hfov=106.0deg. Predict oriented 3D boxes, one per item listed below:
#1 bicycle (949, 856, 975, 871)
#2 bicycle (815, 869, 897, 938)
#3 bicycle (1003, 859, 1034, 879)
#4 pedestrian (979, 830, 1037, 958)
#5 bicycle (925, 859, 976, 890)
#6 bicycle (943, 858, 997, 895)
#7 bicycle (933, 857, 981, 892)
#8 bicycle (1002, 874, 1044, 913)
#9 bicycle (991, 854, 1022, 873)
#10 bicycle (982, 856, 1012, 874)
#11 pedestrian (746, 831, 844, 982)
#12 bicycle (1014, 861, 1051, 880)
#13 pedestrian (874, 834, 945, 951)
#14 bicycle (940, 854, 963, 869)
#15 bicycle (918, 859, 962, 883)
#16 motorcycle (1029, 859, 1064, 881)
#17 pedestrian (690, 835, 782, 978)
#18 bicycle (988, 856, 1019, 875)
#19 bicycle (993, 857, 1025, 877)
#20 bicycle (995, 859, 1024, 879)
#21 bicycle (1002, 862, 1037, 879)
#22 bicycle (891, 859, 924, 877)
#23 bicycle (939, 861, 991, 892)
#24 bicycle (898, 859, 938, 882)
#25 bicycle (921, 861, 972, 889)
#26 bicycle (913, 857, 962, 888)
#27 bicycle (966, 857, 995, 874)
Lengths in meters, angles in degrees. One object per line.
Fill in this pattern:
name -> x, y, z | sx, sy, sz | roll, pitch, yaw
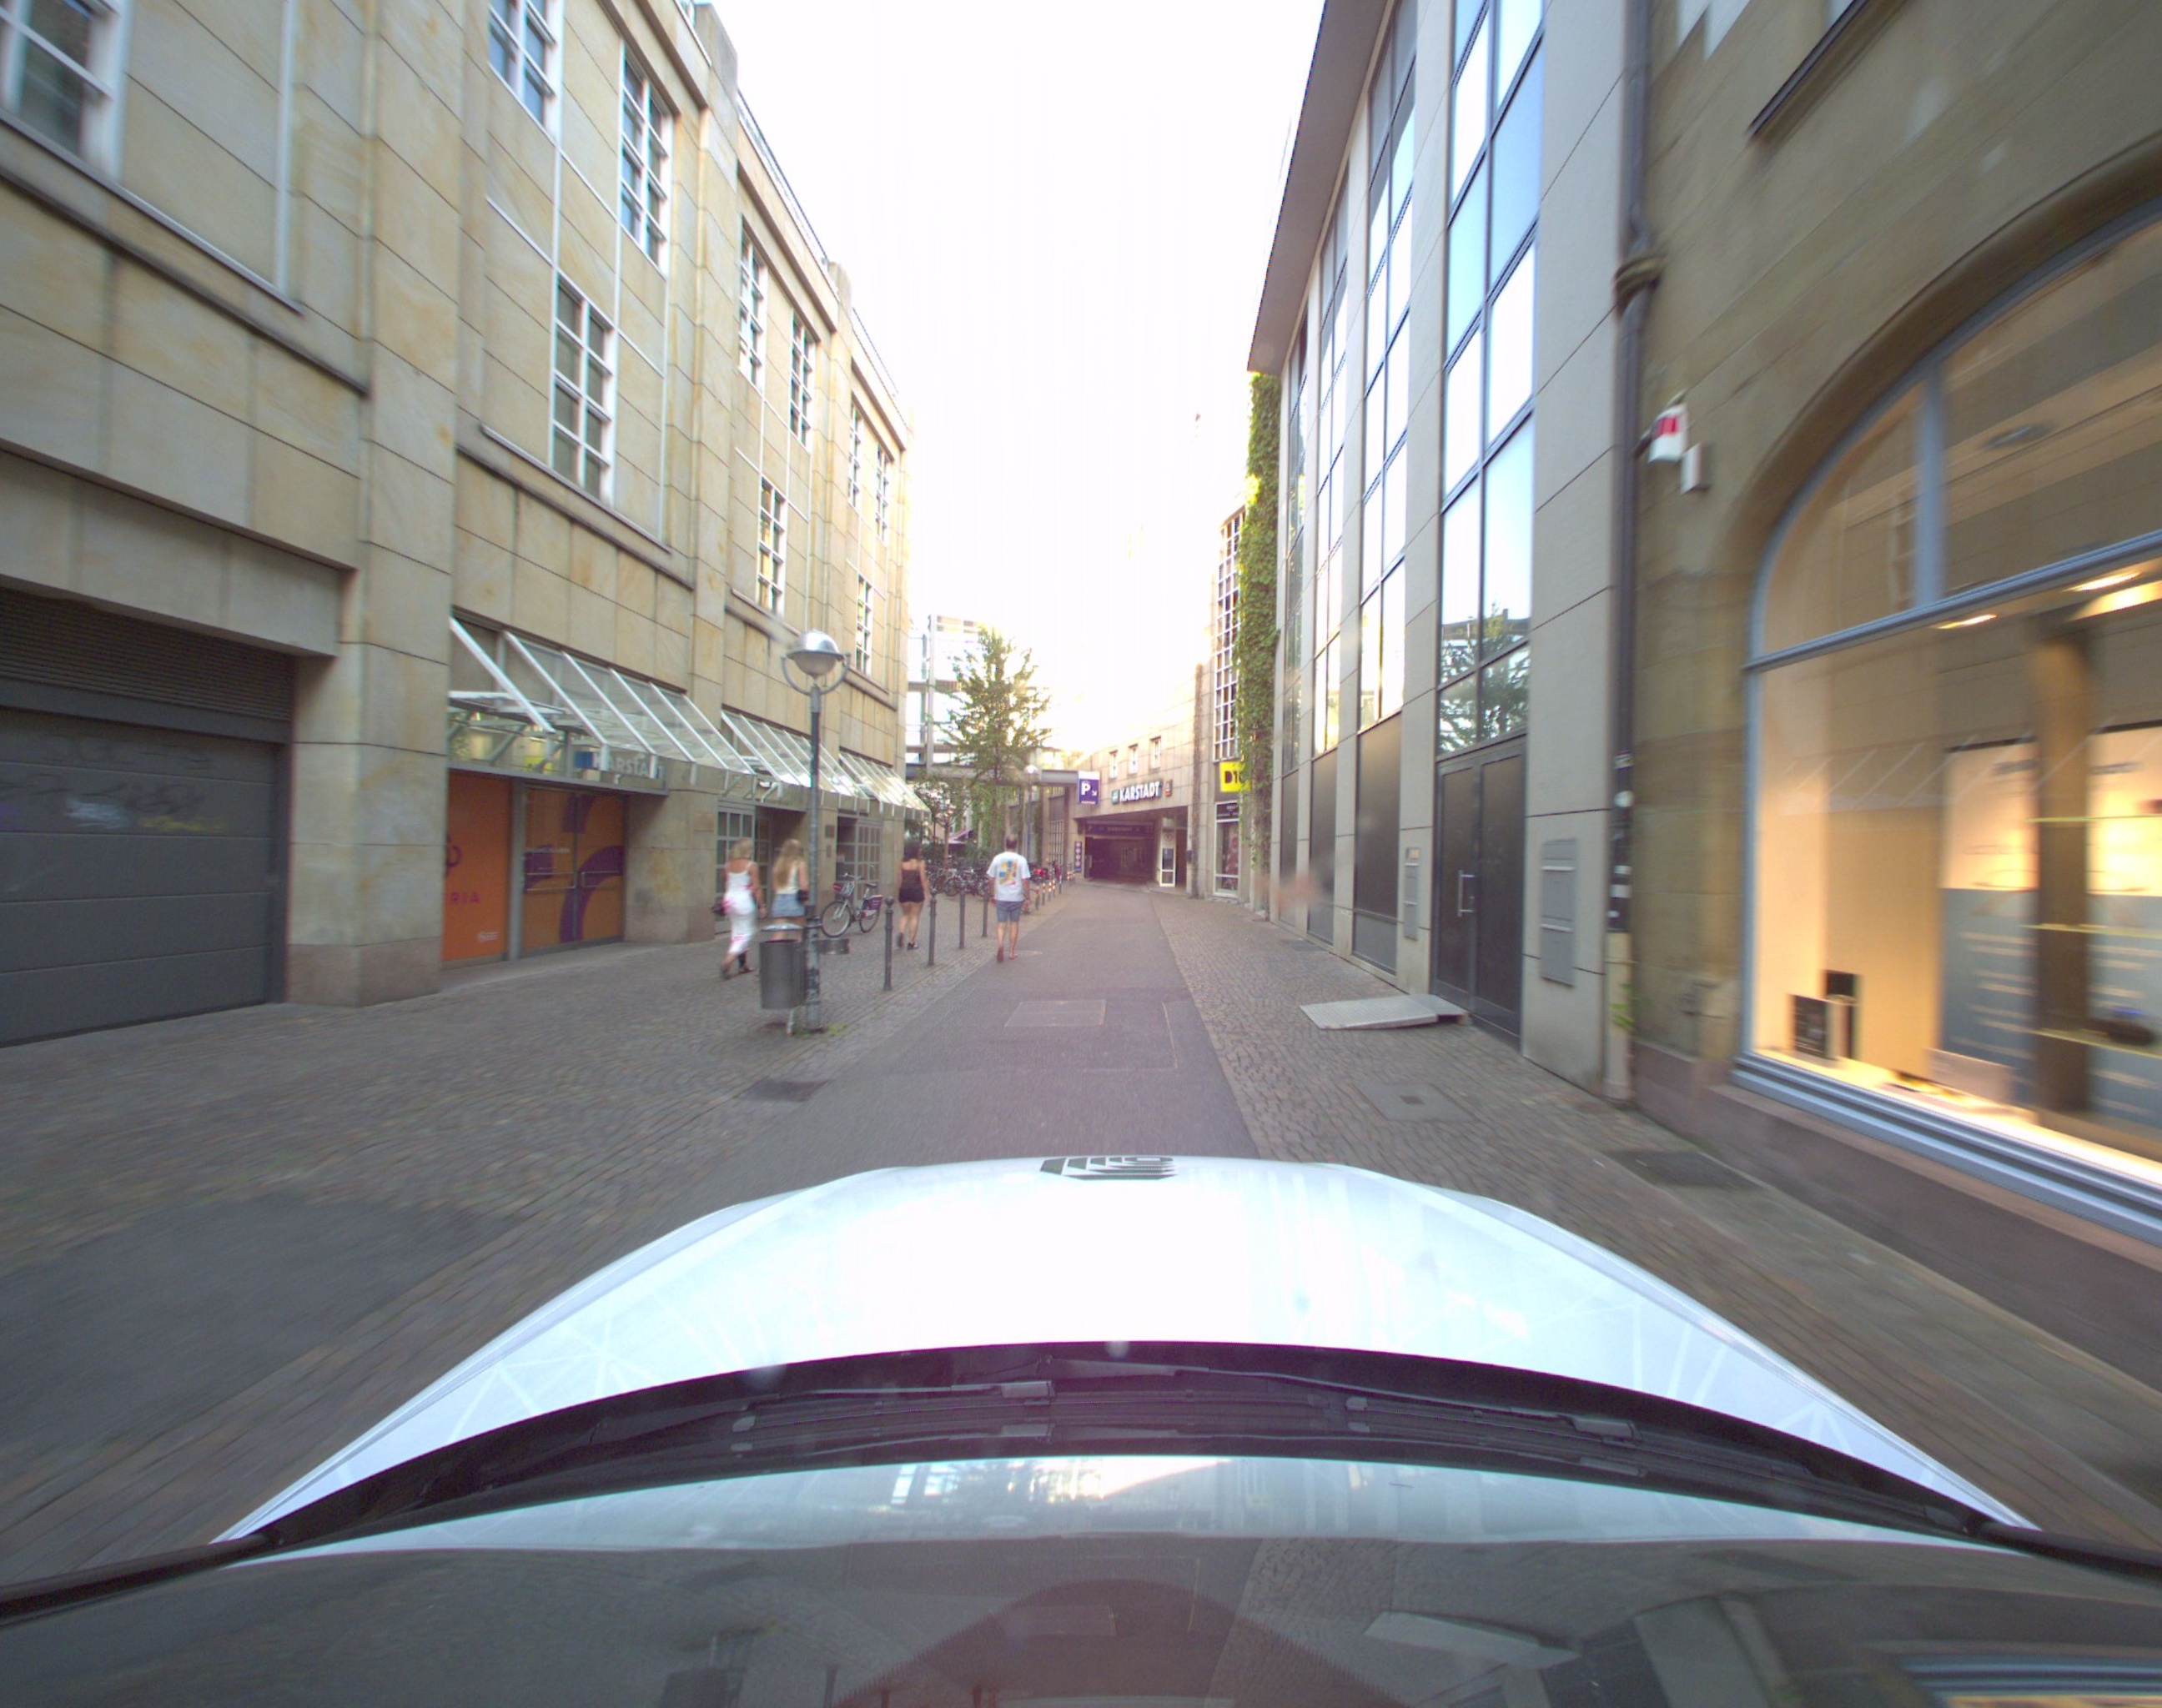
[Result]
bicycle -> -8.595, 0.678, 58.882 | 1.776, 1.114, 0.540 | 0, 0, -15
bicycle -> -4.089, 0.872, 14.912 | 0.517, 1.138, 1.773 | 0, 0, 19
bicycle -> -3.355, 0.810, 43.771 | 1.543, 1.049, 0.572 | 0, 0, -18
pedestrian -> -1.067, 0.567, 12.072 | 0.739, 1.822, 0.879 | 0, 0, 2
bicycle -> -5.005, 0.779, 31.355 | 1.878, 1.177, 0.530 | 0, 0, -20
bicycle -> -3.839, 0.767, 28.181 | 1.772, 1.230, 0.530 | 0, 0, -20
bicycle -> -4.487, 0.735, 29.487 | 1.659, 1.230, 0.530 | 0, 0, -20
bicycle -> -1.527, 1.021, 21.636 | 0.489, 0.939, 1.667 | 2, 0, 18
bicycle -> -4.418, 0.585, 48.442 | 1.778, 1.114, 0.539 | 1, 0, -18
bicycle -> -5.206, 0.682, 50.708 | 1.778, 1.114, 0.539 | 0, 0, -18
pedestrian -> -3.466, 0.609, 9.941 | 0.803, 1.729, 0.949 | 1, 0, 1
bicycle -> -2.506, 0.837, 41.934 | 1.853, 0.982, 0.461 | 0, 0, -18
pedestrian -> -2.734, 0.592, 13.062 | 0.780, 1.795, 0.975 | 0, 0, 10
bicycle -> -10.190, 0.616, 64.086 | 1.778, 1.190, 0.583 | 0, 0, -18
bicycle -> -6.299, 0.753, 36.401 | 1.883, 1.043, 0.530 | 0, 0, -20
motorcycle -> -1.696, 0.801, 40.284 | 1.667, 1.050, 0.461 | 0, 0, -18
pedestrian -> -4.214, 0.611, 9.991 | 0.671, 1.664, 0.862 | 1, 0, 5
bicycle -> -4.716, 0.703, 49.656 | 1.778, 1.114, 0.539 | 0, 0, -18
bicycle -> -4.208, 0.753, 47.357 | 1.778, 1.114, 0.539 | 0, 0, -18
bicycle -> -3.934, 0.826, 44.772 | 1.543, 1.049, 0.572 | 0, 0, -18
bicycle -> -3.258, 0.875, 42.816 | 1.778, 0.904, 0.461 | 0, 0, -18
bicycle -> -9.987, 0.818, 46.869 | 1.785, 1.019, 0.478 | 0, 0, -20
bicycle -> -4.327, 0.844, 30.373 | 1.842, 1.122, 0.530 | 0, 0, -20
bicycle -> -7.648, 0.761, 38.214 | 1.830, 1.043, 0.530 | 0, 0, -20
bicycle -> -5.256, 0.809, 31.895 | 1.900, 1.052, 0.530 | 0, 0, -20
bicycle -> -5.738, 0.719, 32.589 | 1.839, 1.225, 0.530 | 0, 0, -20
bicycle -> -6.532, 0.739, 53.018 | 1.778, 1.114, 0.539 | 0, 0, -18
